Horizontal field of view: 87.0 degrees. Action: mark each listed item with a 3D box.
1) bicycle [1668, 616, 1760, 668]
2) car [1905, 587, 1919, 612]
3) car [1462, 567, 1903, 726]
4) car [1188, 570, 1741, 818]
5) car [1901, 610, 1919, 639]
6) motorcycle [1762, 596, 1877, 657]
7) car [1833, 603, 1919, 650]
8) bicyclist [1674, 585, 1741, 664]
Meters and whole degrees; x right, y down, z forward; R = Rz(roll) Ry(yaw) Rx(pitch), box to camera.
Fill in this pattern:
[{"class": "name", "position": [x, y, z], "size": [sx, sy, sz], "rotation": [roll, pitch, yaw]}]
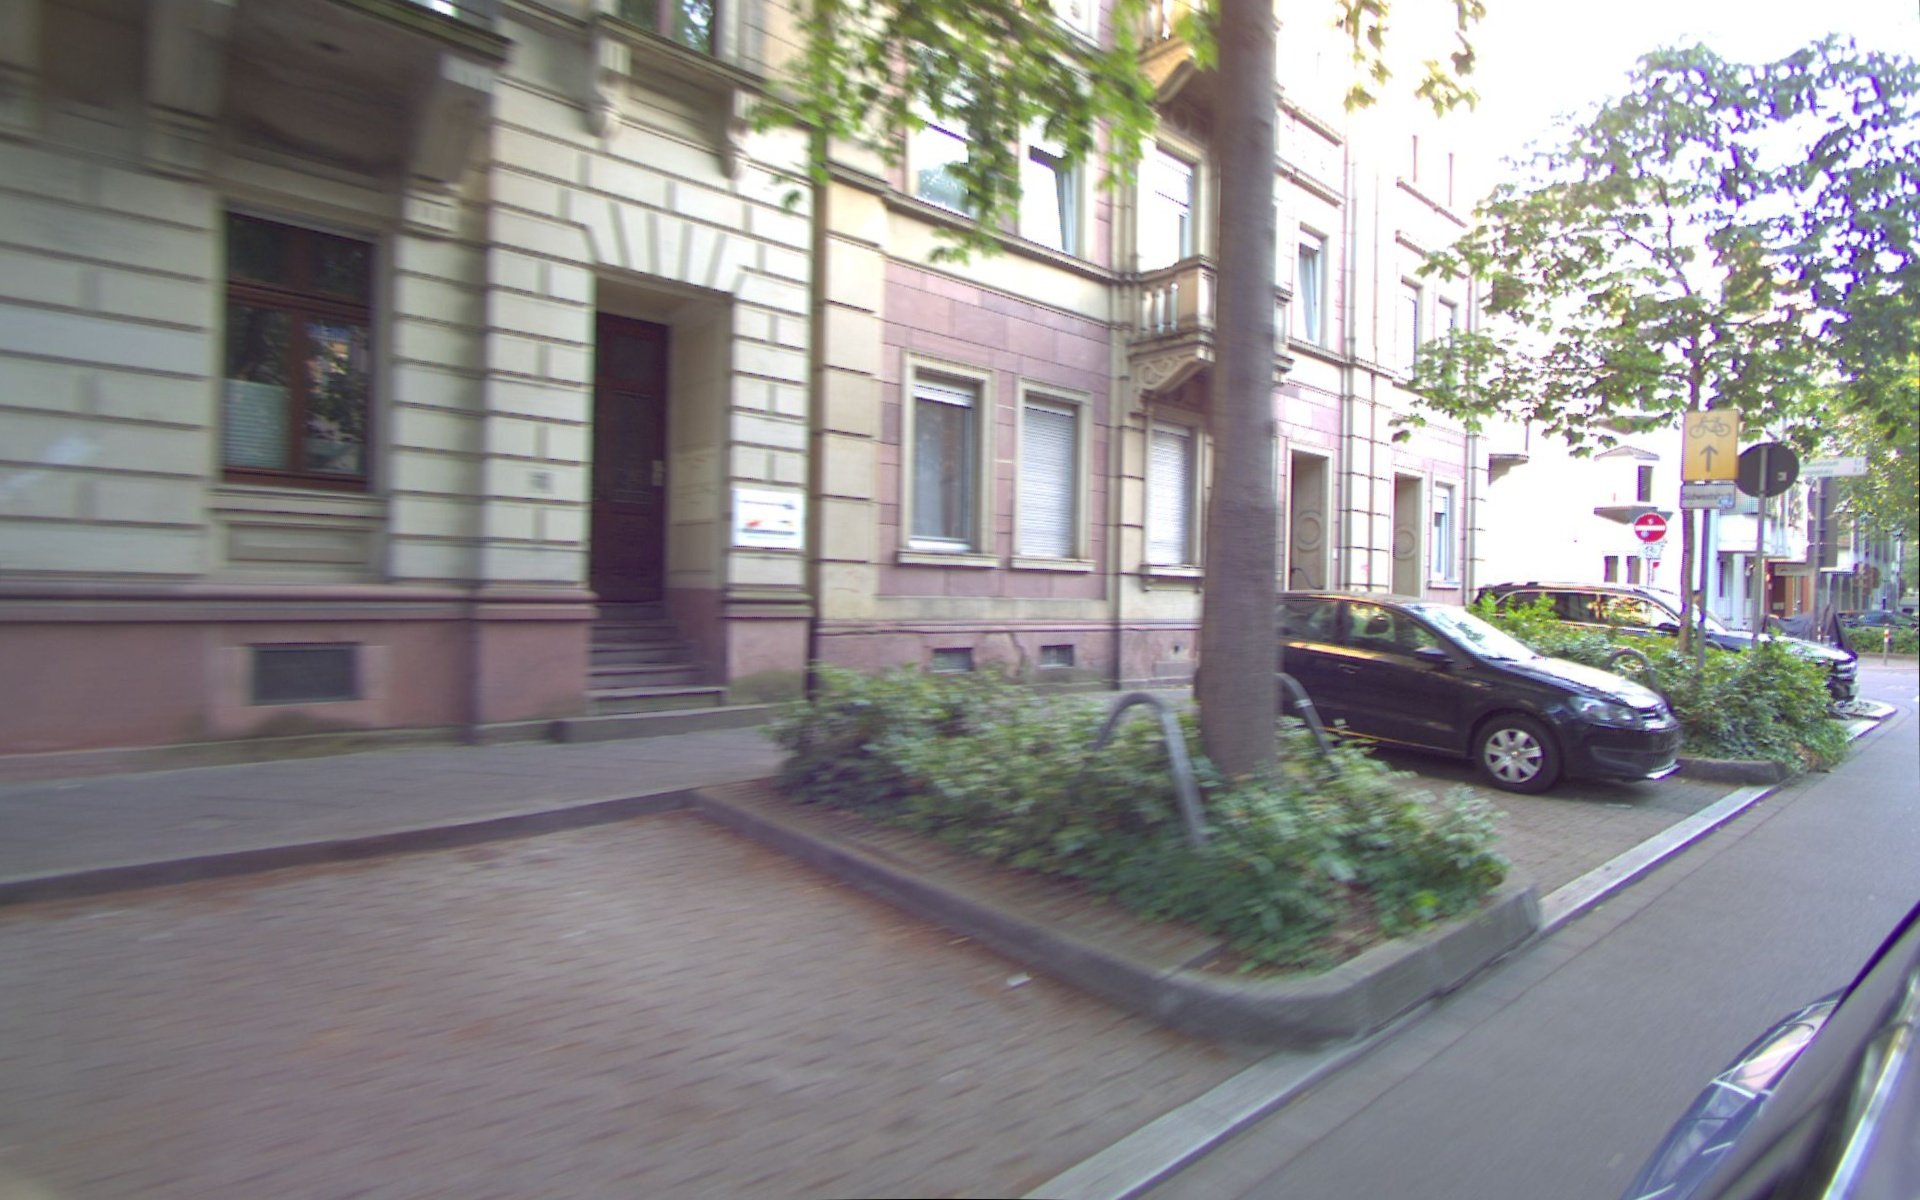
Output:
[{"class": "bicycle", "position": [15.998, 0.869, 21.543], "size": [0.766, 0.985, 2.017], "rotation": [1, 0, 12]}, {"class": "car", "position": [55.498, -0.043, 56.717], "size": [1.563, 1.438, 3.547], "rotation": [1, -2, -41]}, {"class": "car", "position": [9.484, 0.486, 13.693], "size": [1.830, 1.580, 4.430], "rotation": [2, 3, -34]}, {"class": "car", "position": [4.150, 0.599, 8.793], "size": [1.751, 1.445, 3.872], "rotation": [1, 4, -43]}, {"class": "car", "position": [49.829, 1.220, 50.845], "size": [1.563, 1.438, 3.547], "rotation": [1, -2, -41]}, {"class": "motorcycle", "position": [22.862, 0.690, 26.972], "size": [2.230, 1.565, 0.764], "rotation": [0, 0, 34]}, {"class": "car", "position": [34.675, 0.960, 36.860], "size": [1.563, 1.697, 4.161], "rotation": [1, -2, -41]}, {"class": "bicyclist", "position": [16.038, 0.510, 21.750], "size": [0.743, 1.642, 1.143], "rotation": [0, 0, 13]}]
